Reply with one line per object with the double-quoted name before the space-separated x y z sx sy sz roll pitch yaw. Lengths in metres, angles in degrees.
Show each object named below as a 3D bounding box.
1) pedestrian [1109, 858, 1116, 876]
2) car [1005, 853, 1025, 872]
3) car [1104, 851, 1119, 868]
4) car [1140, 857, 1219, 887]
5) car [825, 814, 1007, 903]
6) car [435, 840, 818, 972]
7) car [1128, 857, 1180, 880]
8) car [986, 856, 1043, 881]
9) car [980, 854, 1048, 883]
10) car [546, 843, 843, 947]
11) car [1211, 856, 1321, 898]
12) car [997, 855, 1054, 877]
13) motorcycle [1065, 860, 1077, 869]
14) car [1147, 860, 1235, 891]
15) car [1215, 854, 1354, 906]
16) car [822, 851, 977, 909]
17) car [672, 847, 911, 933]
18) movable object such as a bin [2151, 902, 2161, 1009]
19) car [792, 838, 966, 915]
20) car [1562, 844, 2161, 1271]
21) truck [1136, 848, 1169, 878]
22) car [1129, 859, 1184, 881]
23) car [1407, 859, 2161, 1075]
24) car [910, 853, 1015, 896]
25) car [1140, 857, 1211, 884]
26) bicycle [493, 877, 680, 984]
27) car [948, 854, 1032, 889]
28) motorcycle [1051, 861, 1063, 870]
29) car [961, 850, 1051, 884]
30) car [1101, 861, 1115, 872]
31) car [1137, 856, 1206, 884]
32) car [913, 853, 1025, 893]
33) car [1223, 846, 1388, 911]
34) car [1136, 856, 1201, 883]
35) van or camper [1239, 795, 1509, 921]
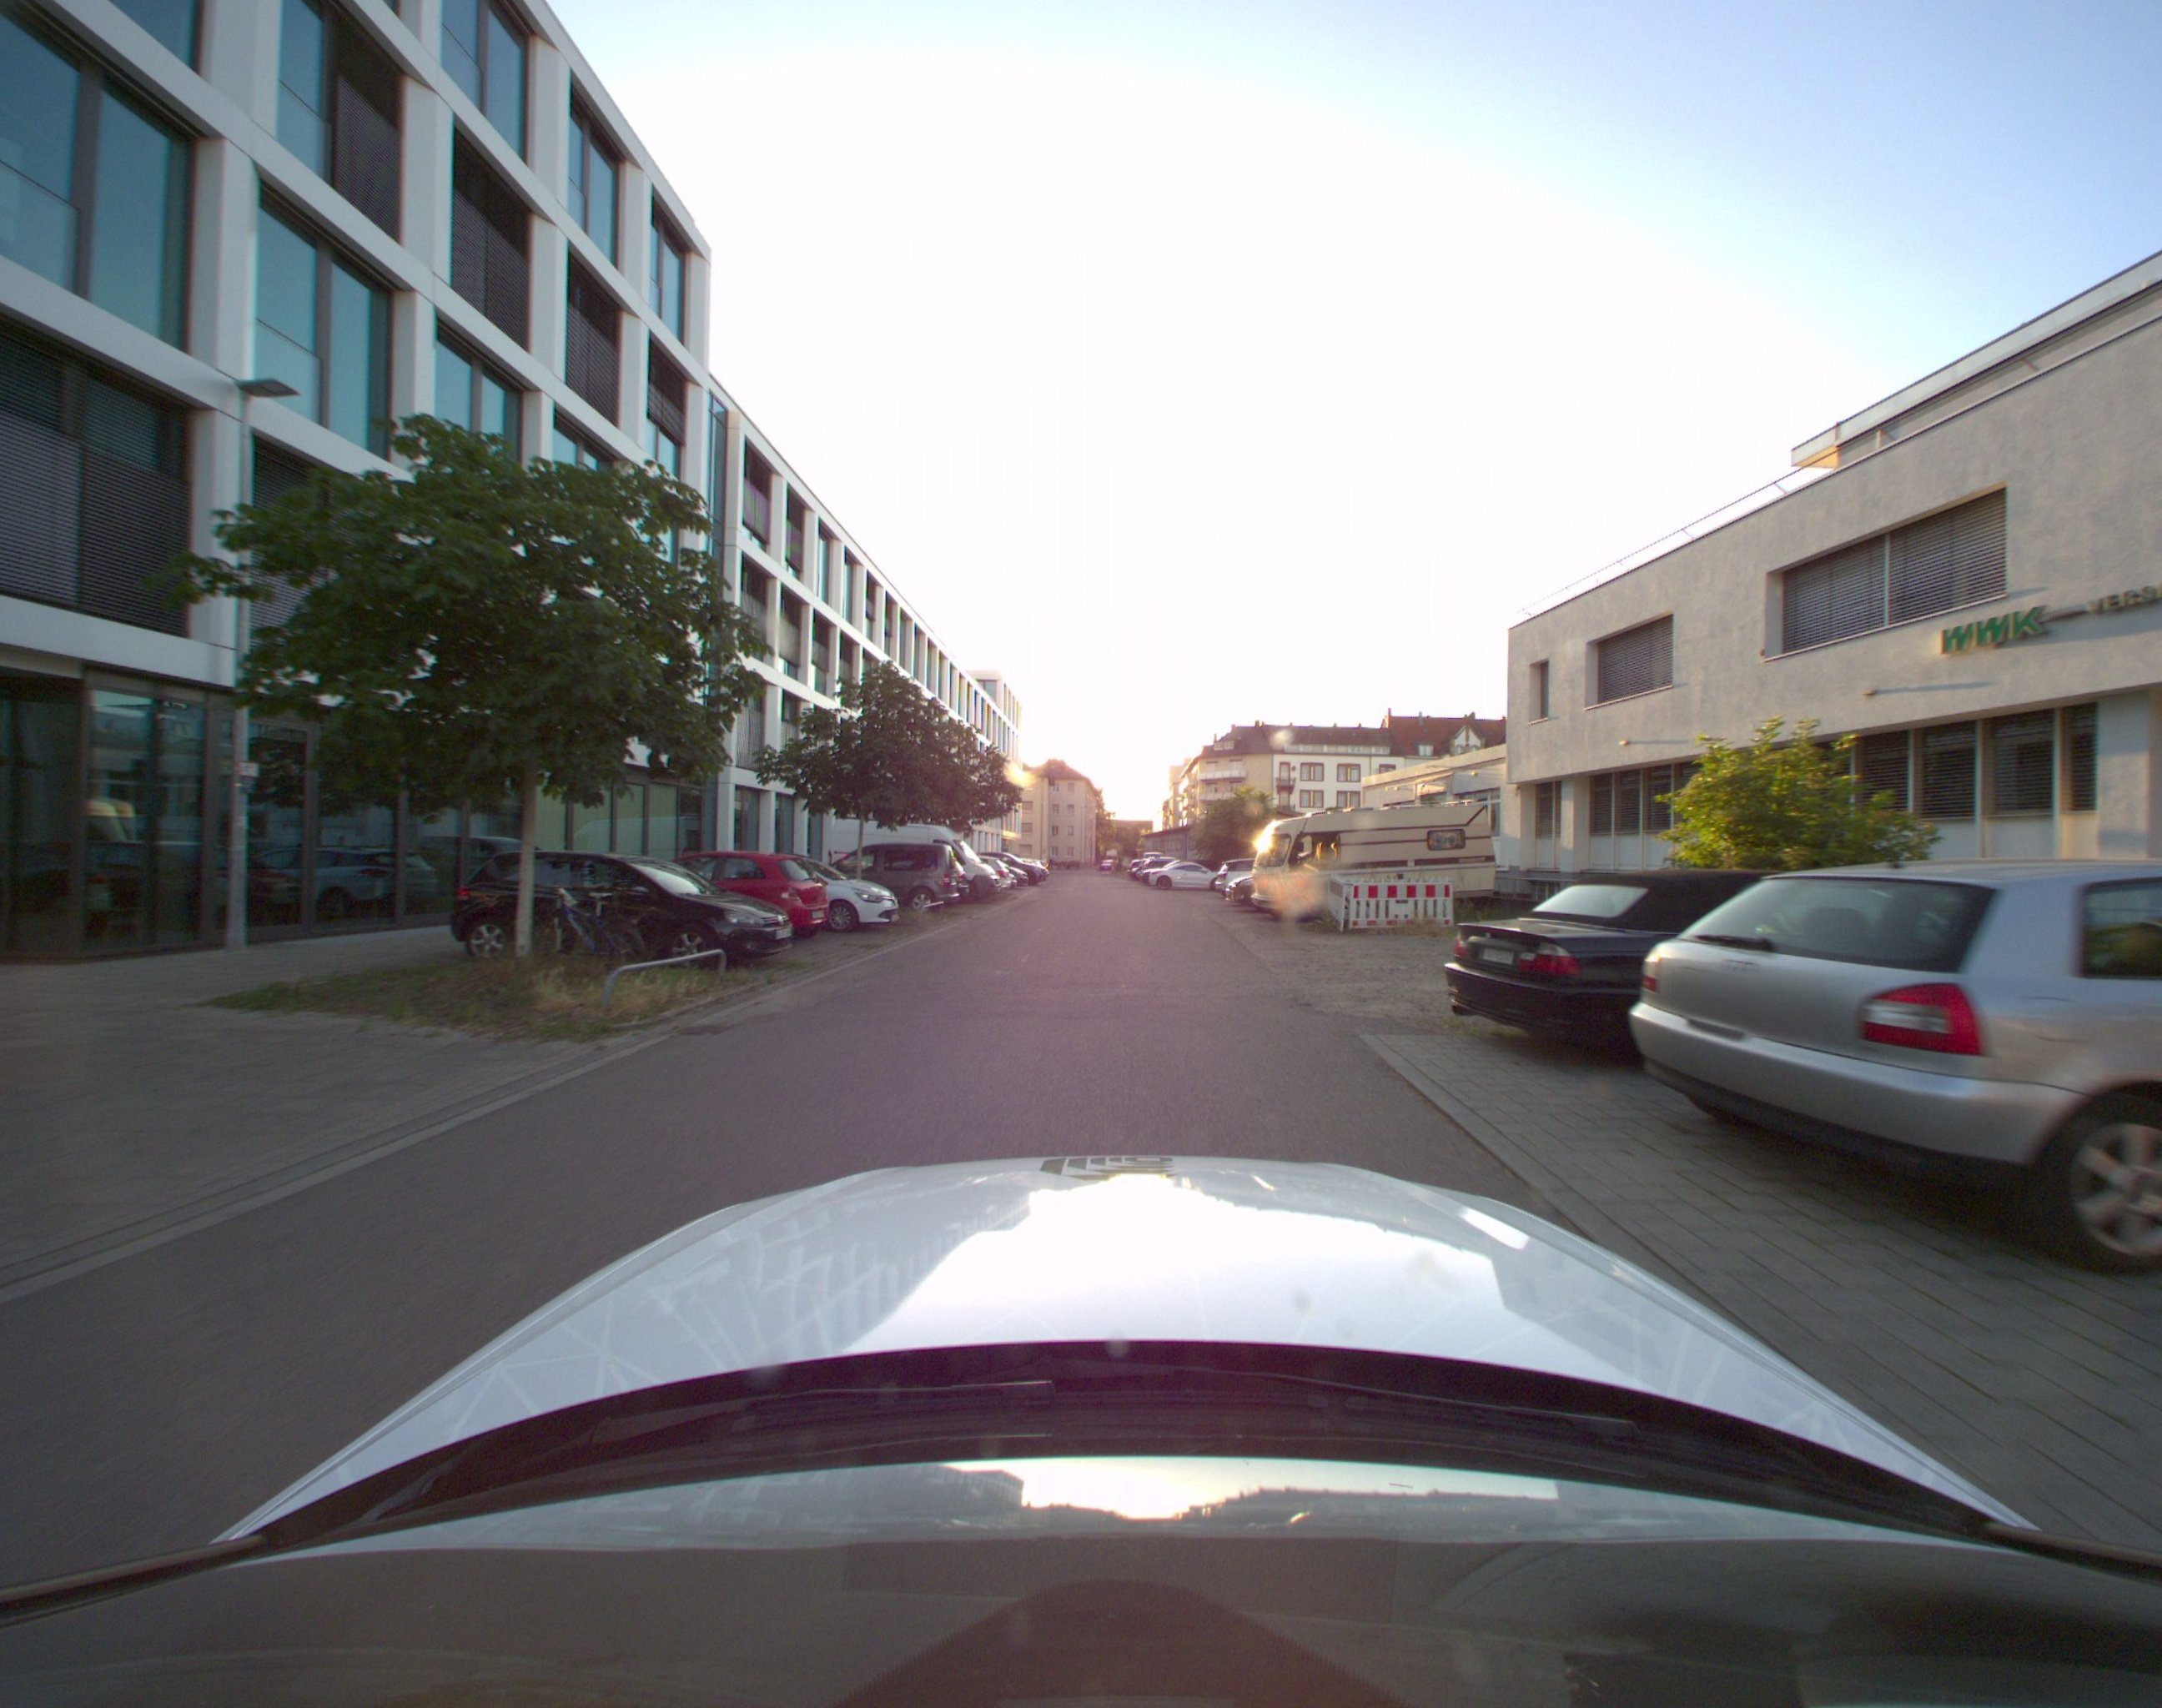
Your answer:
"pedestrian" 3.542 1.452 91.087 0.568 2.014 0.560 1 -1 42
"car" -7.289 0.886 90.352 1.792 1.979 4.688 1 0 0
"car" 5.852 1.067 156.872 2.608 3.269 7.704 -1 -1 4
"car" 5.444 1.020 45.206 4.187 1.503 1.890 2 -1 1
"car" -5.273 0.140 26.559 5.359 2.633 2.080 2 0 3
"car" -5.965 0.652 11.079 4.095 1.518 1.845 2 0 0
"car" 5.388 1.084 60.338 3.746 1.535 1.892 2 0 1
"car" -4.460 0.975 55.102 3.640 1.511 1.688 2 0 2
"car" -3.891 0.838 47.594 3.649 1.511 1.699 2 0 5
"car" -6.405 0.642 13.846 4.093 1.518 1.845 2 0 1
"car" 6.879 0.835 30.513 3.695 1.479 1.711 0 0 -2
"car" -4.053 0.880 59.897 3.910 1.511 1.689 2 0 2
"motorcycle" -1.395 1.397 109.567 0.682 1.160 2.046 1 -1 28
"car" 5.372 1.029 40.170 4.184 1.367 1.825 2 0 3
"car" 6.469 0.795 26.071 3.996 1.564 1.709 0 0 -4
"car" -5.219 0.736 23.816 4.098 1.499 1.773 2 0 -3
"car" -5.717 0.688 16.436 4.093 1.518 1.781 2 0 1
"movable object such as a bin" 9.693 0.892 6.932 0.465 0.932 0.526 0 -1 -1
"car" -5.196 0.569 21.389 4.098 1.817 1.814 2 0 -3
"car" 4.804 0.675 3.795 4.045 1.407 1.895 -1 0 -2
"truck" 5.634 0.693 64.478 2.091 2.200 5.710 1 -1 0
"car" 5.337 1.151 57.901 3.749 1.444 1.844 2 -1 -1
"car" 5.016 0.729 6.214 4.304 1.333 1.895 0 -1 -2
"car" -4.482 0.778 31.265 3.694 1.495 1.708 2 0 1
"car" 5.523 0.948 47.786 3.970 1.445 1.827 2 -1 0
"bicycle" -5.432 0.821 8.993 1.689 1.065 0.567 2 0 2
"car" -4.277 0.806 38.758 3.769 1.522 1.693 2 0 0
"motorcycle" -3.118 1.532 107.116 0.717 1.079 2.092 1 -1 24
"car" -4.107 0.705 44.981 4.596 1.706 2.007 2 0 5
"car" 3.660 1.650 111.584 1.838 1.473 4.080 1 -1 2
"car" 5.604 0.987 50.635 3.975 1.619 1.825 2 -1 -4
"car" -4.640 0.770 34.145 4.290 1.495 1.796 2 0 3
"car" 6.281 0.679 23.168 4.222 1.741 1.969 0 -1 4
"car" 5.688 0.976 53.031 3.972 1.609 1.938 2 0 -1
"van or camper" 7.026 0.091 20.080 5.764 2.864 2.485 0 -1 -2
